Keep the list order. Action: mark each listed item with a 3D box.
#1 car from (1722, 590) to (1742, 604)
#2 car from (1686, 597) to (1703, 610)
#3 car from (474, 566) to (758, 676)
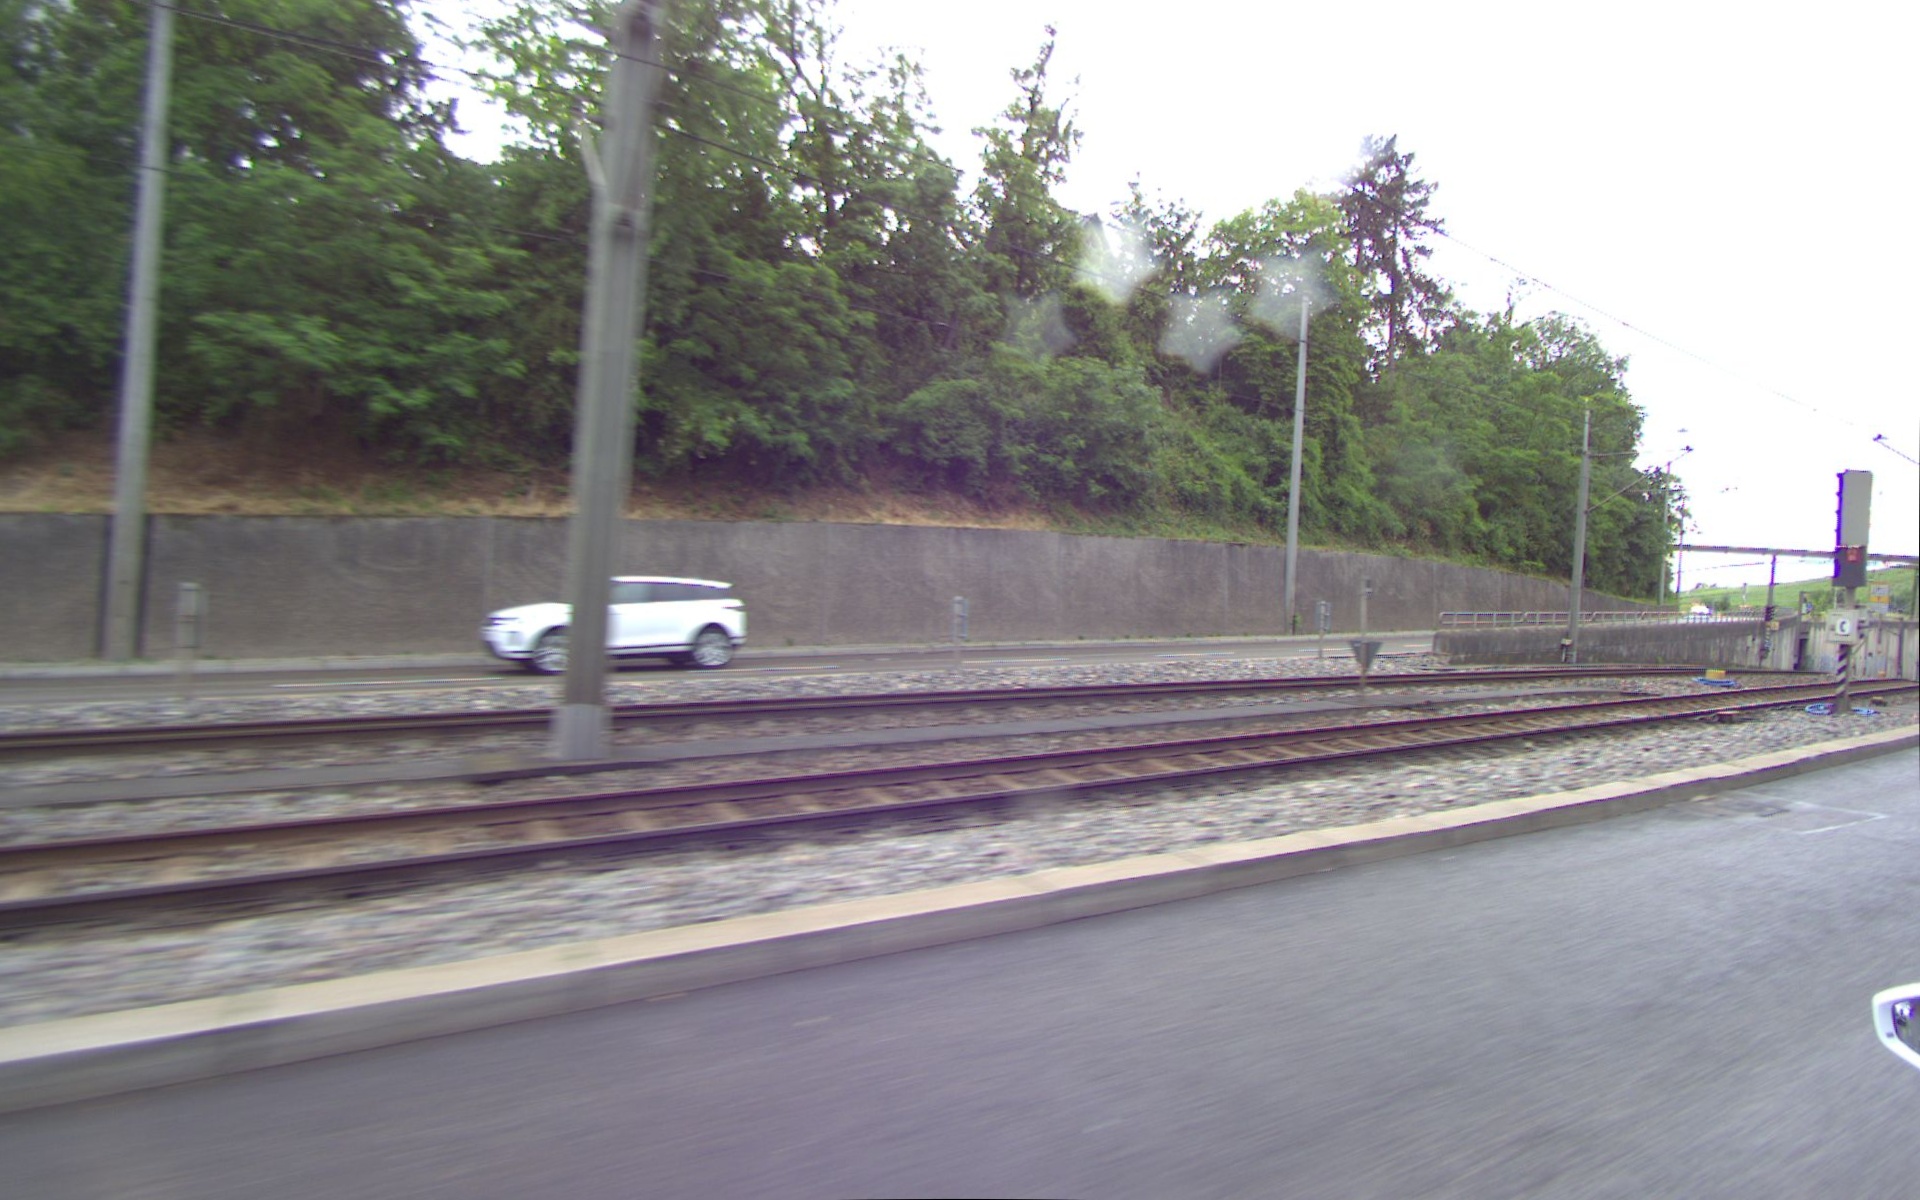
[{"bbox_3d":[103.926,-0.368,135.192,1.935,1.773,4.127,1,0,35],"label":"car"},{"bbox_3d":[99.702,0.439,136.400,1.794,1.727,4.095,1,0,37],"label":"car"},{"bbox_3d":[-5.984,0.347,17.690,4.366,1.706,1.921,1,0,-37],"label":"car"}]
